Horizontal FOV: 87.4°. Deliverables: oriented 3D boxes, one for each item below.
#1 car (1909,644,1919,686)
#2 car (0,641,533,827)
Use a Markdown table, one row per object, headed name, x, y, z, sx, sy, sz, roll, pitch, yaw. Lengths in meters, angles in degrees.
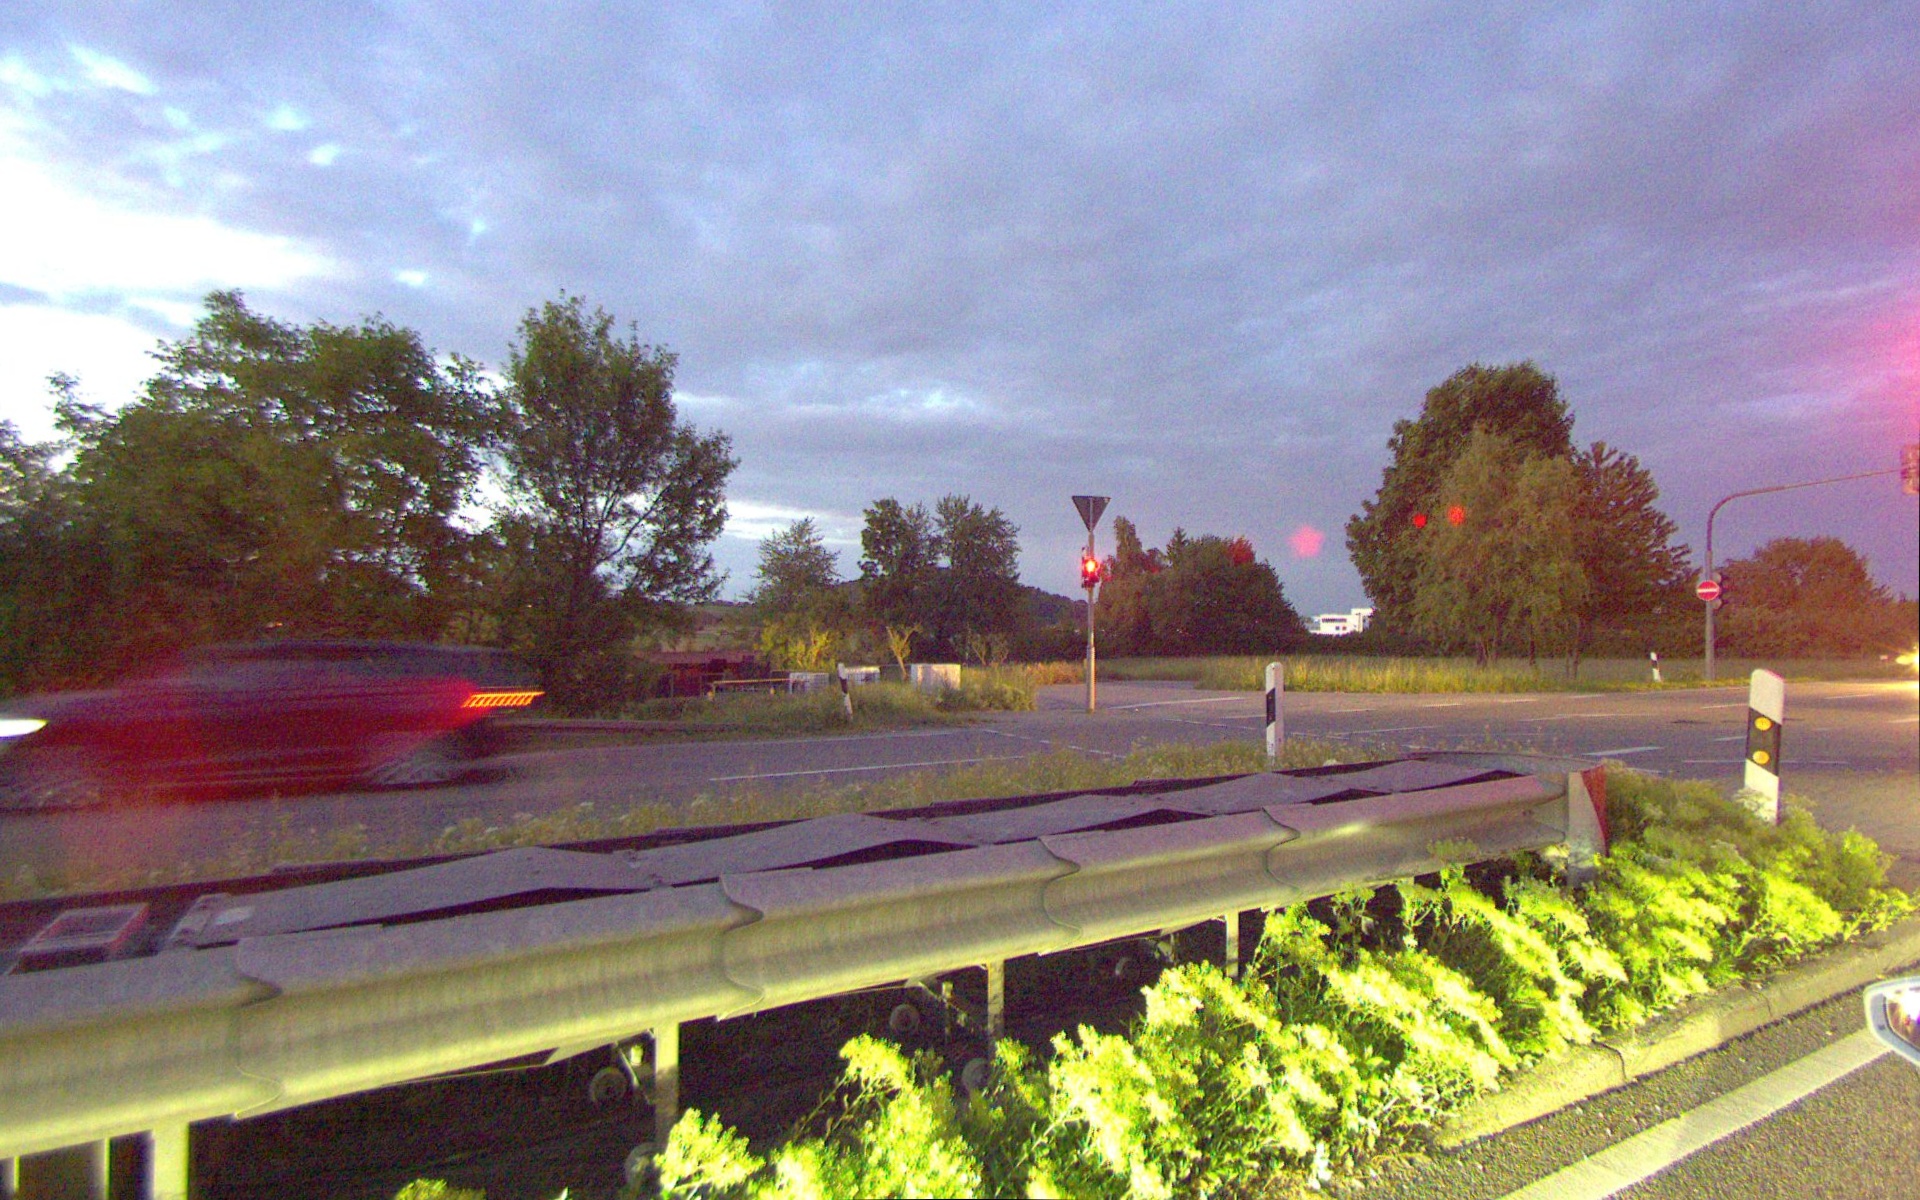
| name | x | y | z | sx | sy | sz | roll | pitch | yaw |
| --- | --- | --- | --- | --- | --- | --- | --- | --- | --- |
| car | 33.538 | 2.111 | 33.566 | 3.547 | 1.394 | 1.622 | 1 | -6 | -30 |
| car | -6.690 | 1.162 | 9.817 | 4.532 | 1.524 | 1.623 | 1 | -2 | -27 |
